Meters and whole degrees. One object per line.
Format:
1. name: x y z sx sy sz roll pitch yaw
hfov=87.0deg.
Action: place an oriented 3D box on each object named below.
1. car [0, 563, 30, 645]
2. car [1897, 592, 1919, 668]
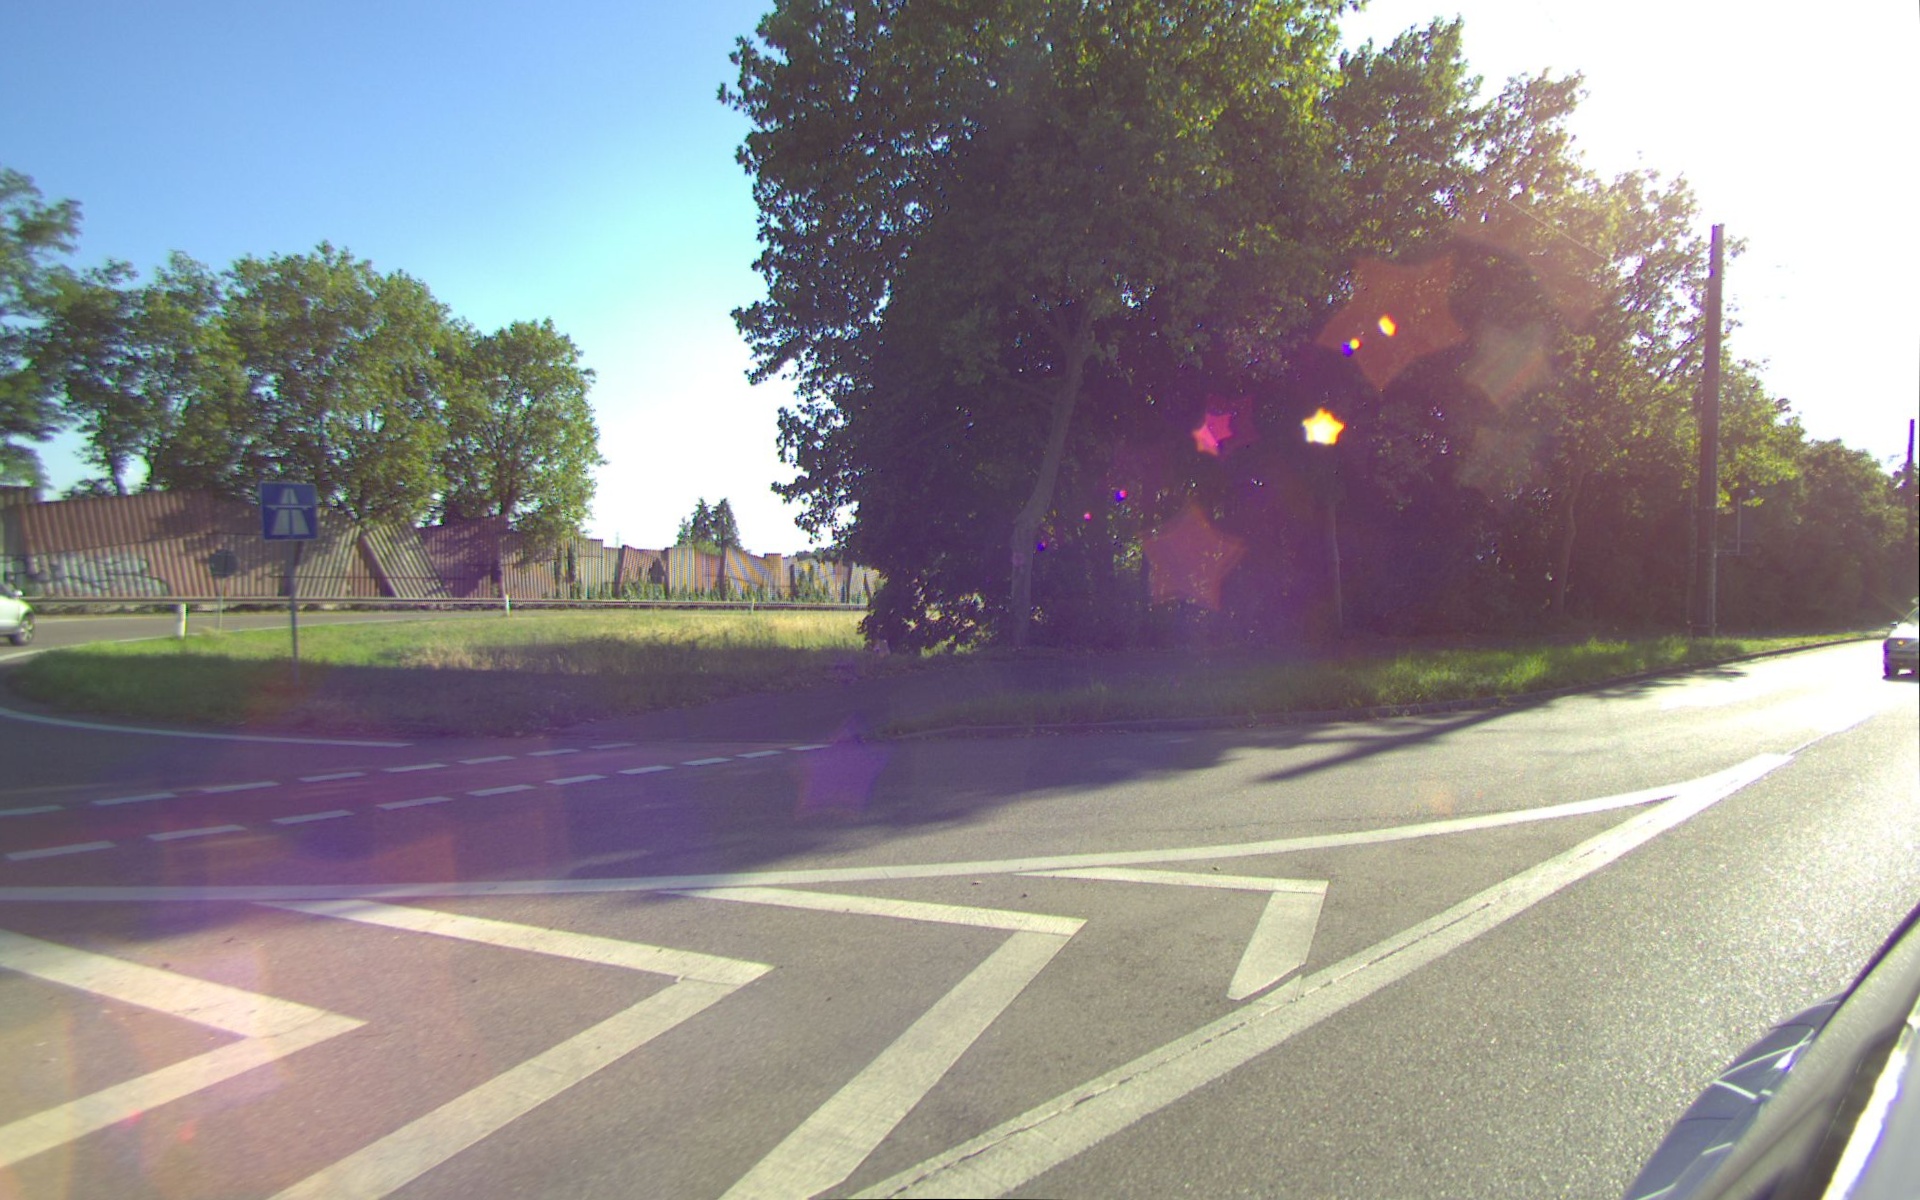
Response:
1. car: -21.751 0.096 21.567 1.777 1.795 3.869 0 1 -26
2. car: 20.101 0.564 20.039 4.060 1.435 1.693 -1 1 -38
